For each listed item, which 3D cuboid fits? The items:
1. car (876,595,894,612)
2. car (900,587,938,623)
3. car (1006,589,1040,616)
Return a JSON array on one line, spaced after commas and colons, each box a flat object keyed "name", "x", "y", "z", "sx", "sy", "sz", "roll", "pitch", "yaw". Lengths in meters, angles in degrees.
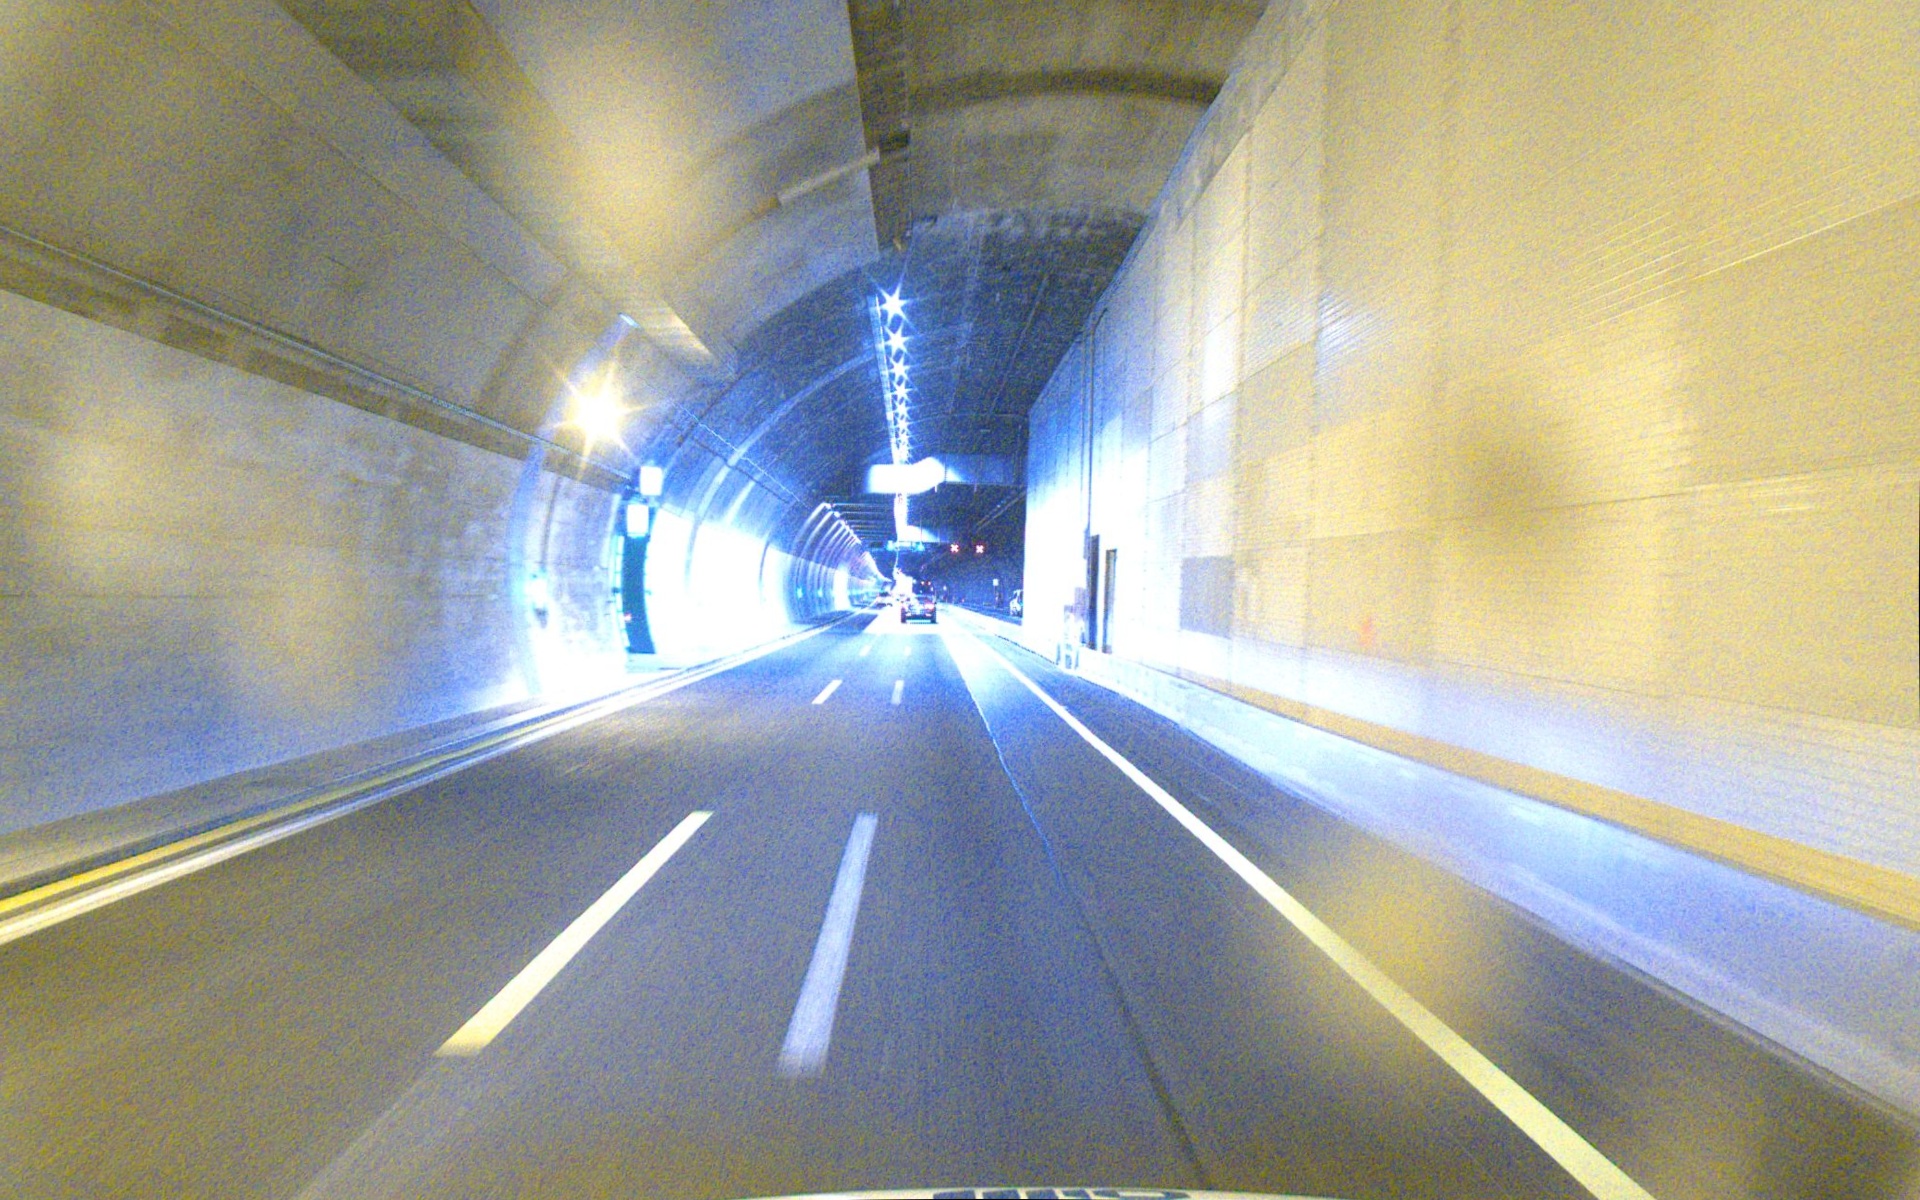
[{"name": "car", "x": -7.968, "y": 0.369, "z": 175.560, "sx": 1.891, "sy": 1.716, "sz": 3.999, "roll": 0, "pitch": 0, "yaw": -2}, {"name": "car", "x": -2.156, "y": 0.266, "z": 85.936, "sx": 1.908, "sy": 1.826, "sz": 3.998, "roll": 0, "pitch": 0, "yaw": -2}, {"name": "car", "x": 4.454, "y": 0.150, "z": 117.004, "sx": 1.717, "sy": 1.877, "sz": 4.639, "roll": -1, "pitch": 0, "yaw": -6}]
